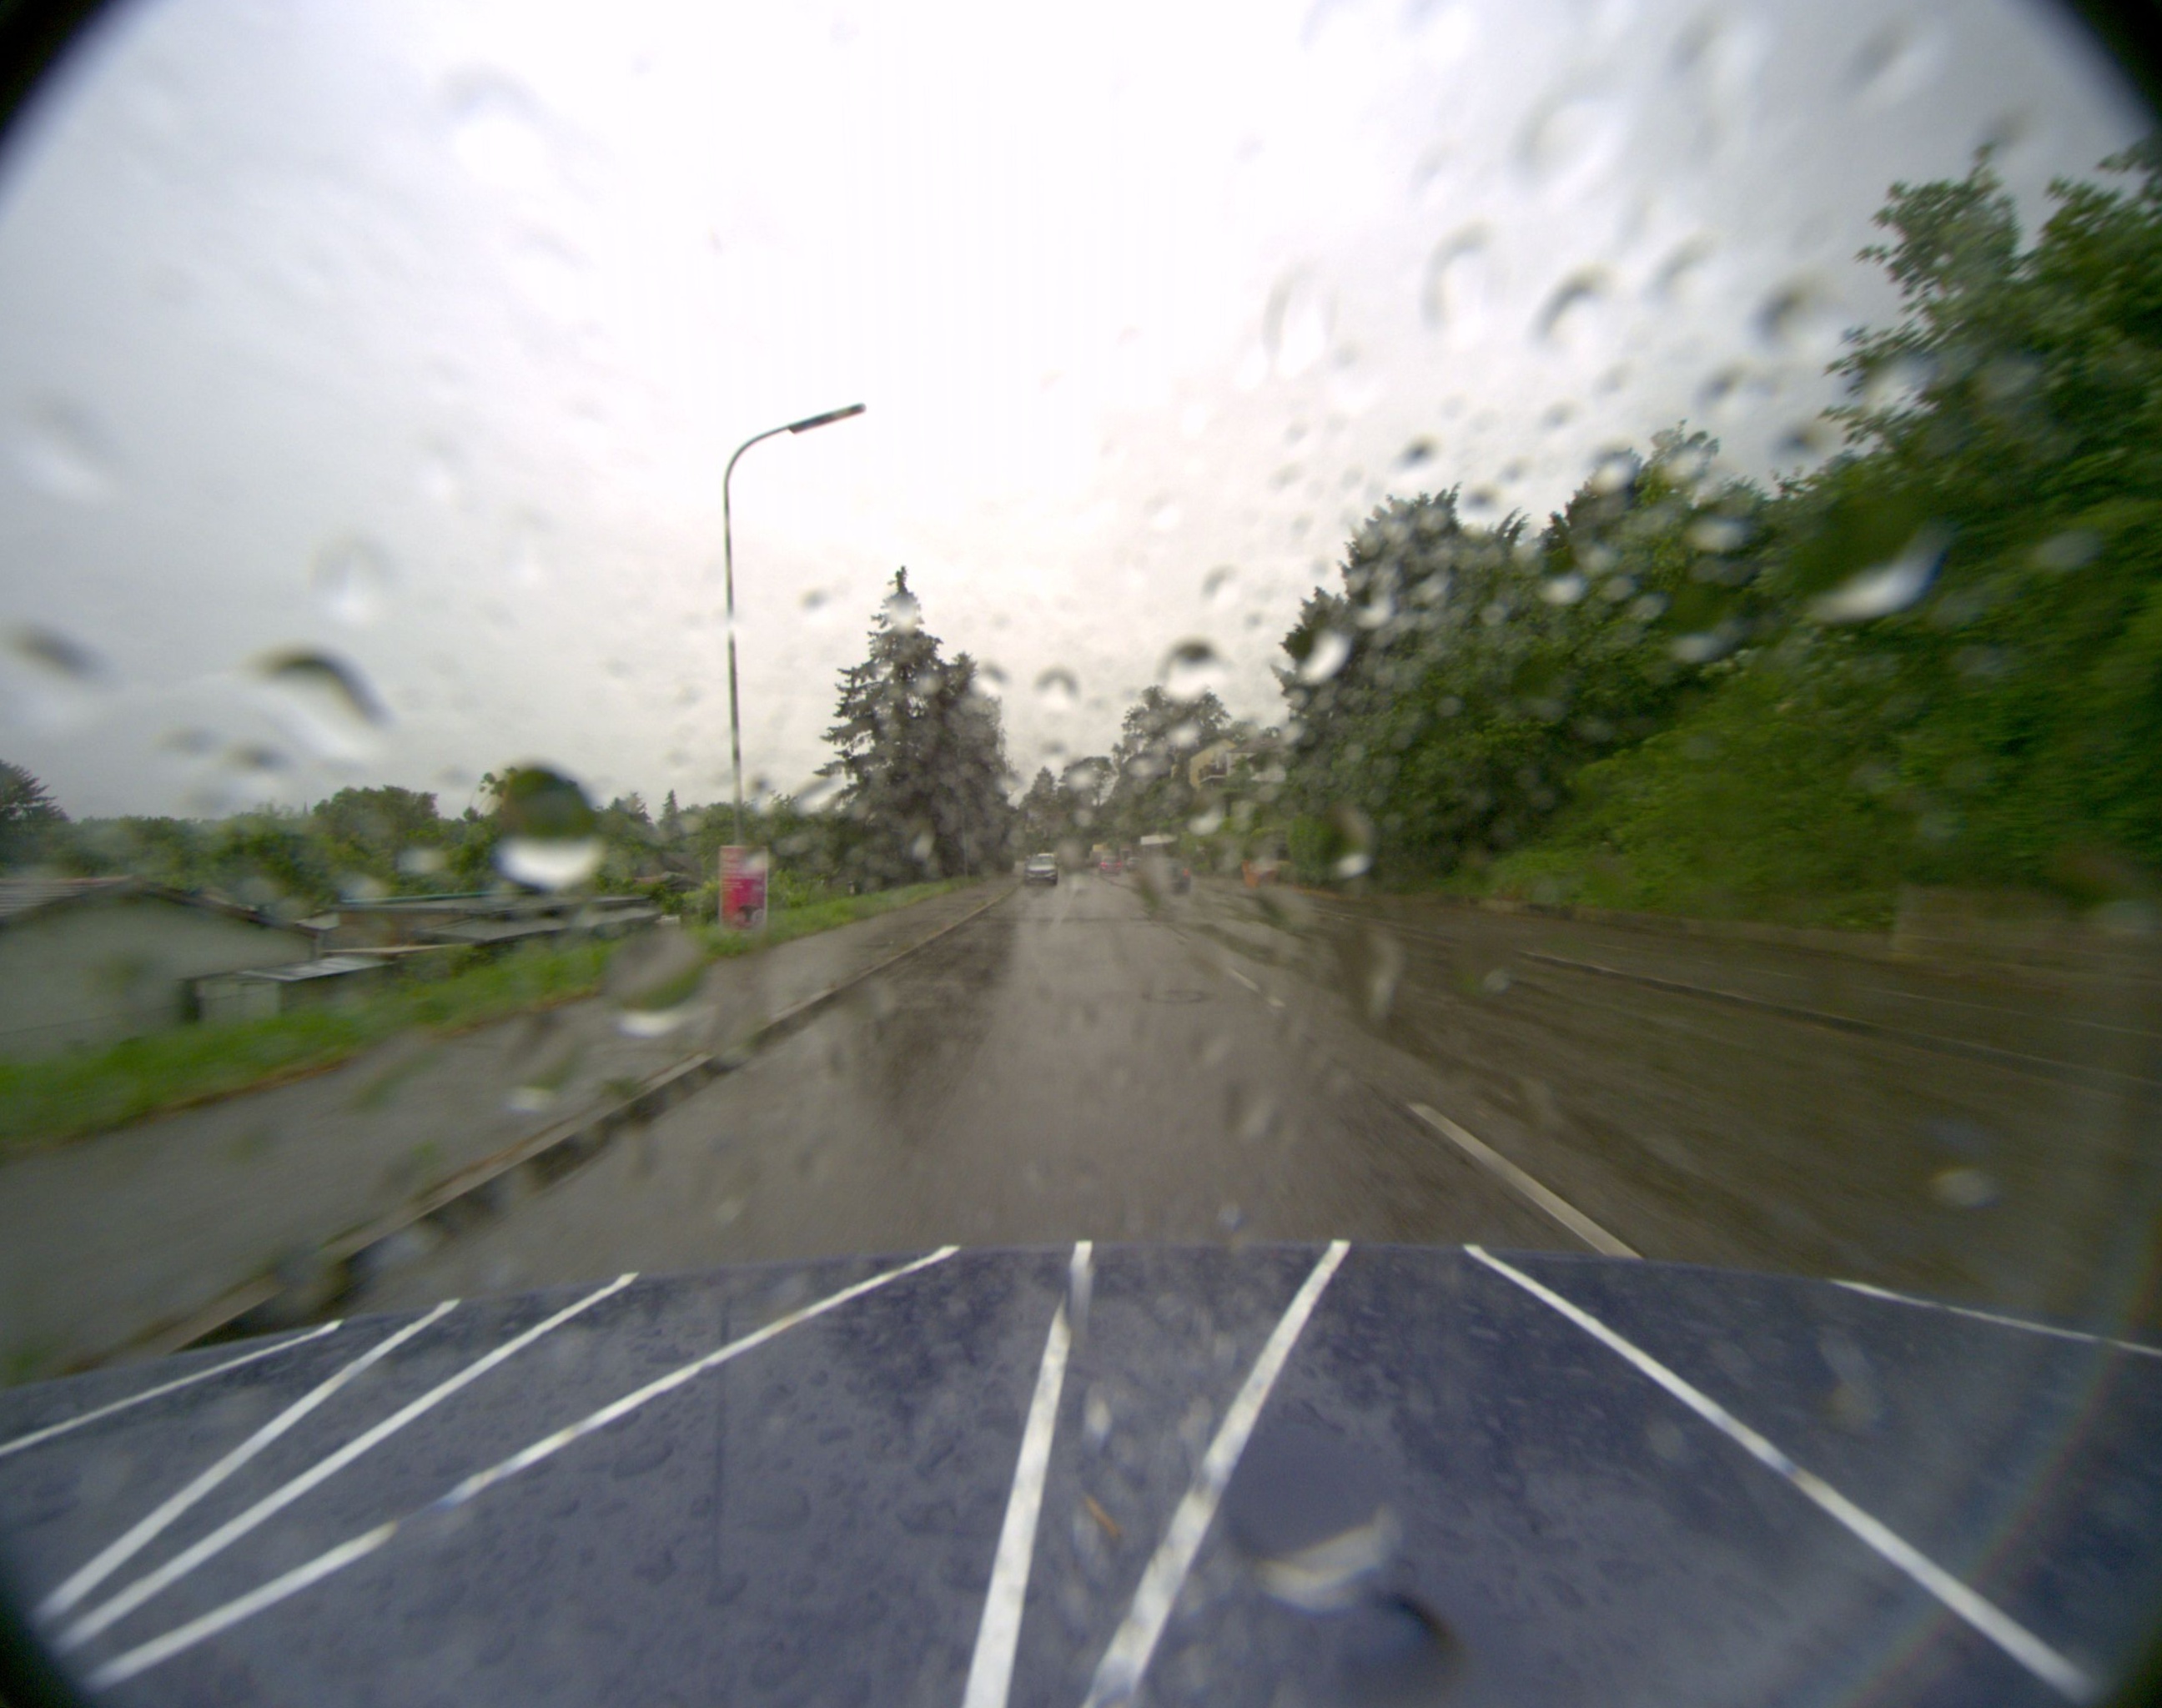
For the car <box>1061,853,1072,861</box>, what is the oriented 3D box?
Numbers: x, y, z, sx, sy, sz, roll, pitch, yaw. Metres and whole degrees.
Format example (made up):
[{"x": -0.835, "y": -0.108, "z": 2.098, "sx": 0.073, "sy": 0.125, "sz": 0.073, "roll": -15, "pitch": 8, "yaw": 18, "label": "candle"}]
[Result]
[{"x": -2.867, "y": 0.618, "z": 149.294, "sx": 1.747, "sy": 1.552, "sz": 4.106, "roll": 2, "pitch": 0, "yaw": -7, "label": "car"}]

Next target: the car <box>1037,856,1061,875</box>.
[{"x": -2.414, "y": 0.845, "z": 58.011, "sx": 1.714, "sy": 1.395, "sz": 4.202, "roll": -1, "pitch": 0, "yaw": -2, "label": "car"}]

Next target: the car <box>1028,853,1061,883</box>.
[{"x": -2.081, "y": 0.770, "z": 44.273, "sx": 1.820, "sy": 1.636, "sz": 4.394, "roll": -1, "pitch": 0, "yaw": -2, "label": "car"}]

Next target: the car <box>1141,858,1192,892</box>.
[{"x": 3.670, "y": 0.877, "z": 33.127, "sx": 1.659, "sy": 1.344, "sz": 3.986, "roll": -1, "pitch": 0, "yaw": -2, "label": "car"}]

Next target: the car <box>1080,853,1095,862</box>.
[{"x": 1.053, "y": 0.509, "z": 121.659, "sx": 1.791, "sy": 1.406, "sz": 4.215, "roll": 1, "pitch": -1, "yaw": -7, "label": "car"}]

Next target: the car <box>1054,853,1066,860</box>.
[{"x": -4.605, "y": 0.534, "z": 165.847, "sx": 1.915, "sy": 1.472, "sz": 4.751, "roll": 2, "pitch": 0, "yaw": -8, "label": "car"}]

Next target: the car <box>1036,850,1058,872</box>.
[{"x": -2.868, "y": 0.599, "z": 65.445, "sx": 1.789, "sy": 1.780, "sz": 4.360, "roll": -1, "pitch": 0, "yaw": -2, "label": "car"}]

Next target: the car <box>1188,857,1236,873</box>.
[{"x": 10.969, "y": 0.912, "z": 63.805, "sx": 3.767, "sy": 1.375, "sz": 1.866, "roll": 0, "pitch": 0, "yaw": -1, "label": "car"}]

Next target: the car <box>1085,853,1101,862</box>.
[{"x": 1.792, "y": 0.561, "z": 114.805, "sx": 1.814, "sy": 1.341, "sz": 3.774, "roll": 1, "pitch": -1, "yaw": -7, "label": "car"}]

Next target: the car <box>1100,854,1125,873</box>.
[{"x": 2.497, "y": 0.710, "z": 61.136, "sx": 1.667, "sy": 1.452, "sz": 3.660, "roll": -1, "pitch": 0, "yaw": -4, "label": "car"}]

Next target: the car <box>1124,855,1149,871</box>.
[{"x": 5.208, "y": 0.839, "z": 71.960, "sx": 1.761, "sy": 1.394, "sz": 3.768, "roll": 2, "pitch": 0, "yaw": -5, "label": "car"}]

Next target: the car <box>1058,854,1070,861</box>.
[{"x": -3.455, "y": 0.746, "z": 153.930, "sx": 1.722, "sy": 1.357, "sz": 4.079, "roll": 2, "pitch": -1, "yaw": -11, "label": "car"}]

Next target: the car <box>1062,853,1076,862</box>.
[{"x": -2.302, "y": 0.622, "z": 144.154, "sx": 1.880, "sy": 1.616, "sz": 4.590, "roll": 3, "pitch": -1, "yaw": -8, "label": "car"}]

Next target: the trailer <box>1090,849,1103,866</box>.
[{"x": 2.198, "y": 0.486, "z": 109.543, "sx": 1.541, "sy": 2.385, "sz": 3.072, "roll": 2, "pitch": 0, "yaw": -3, "label": "trailer"}]
